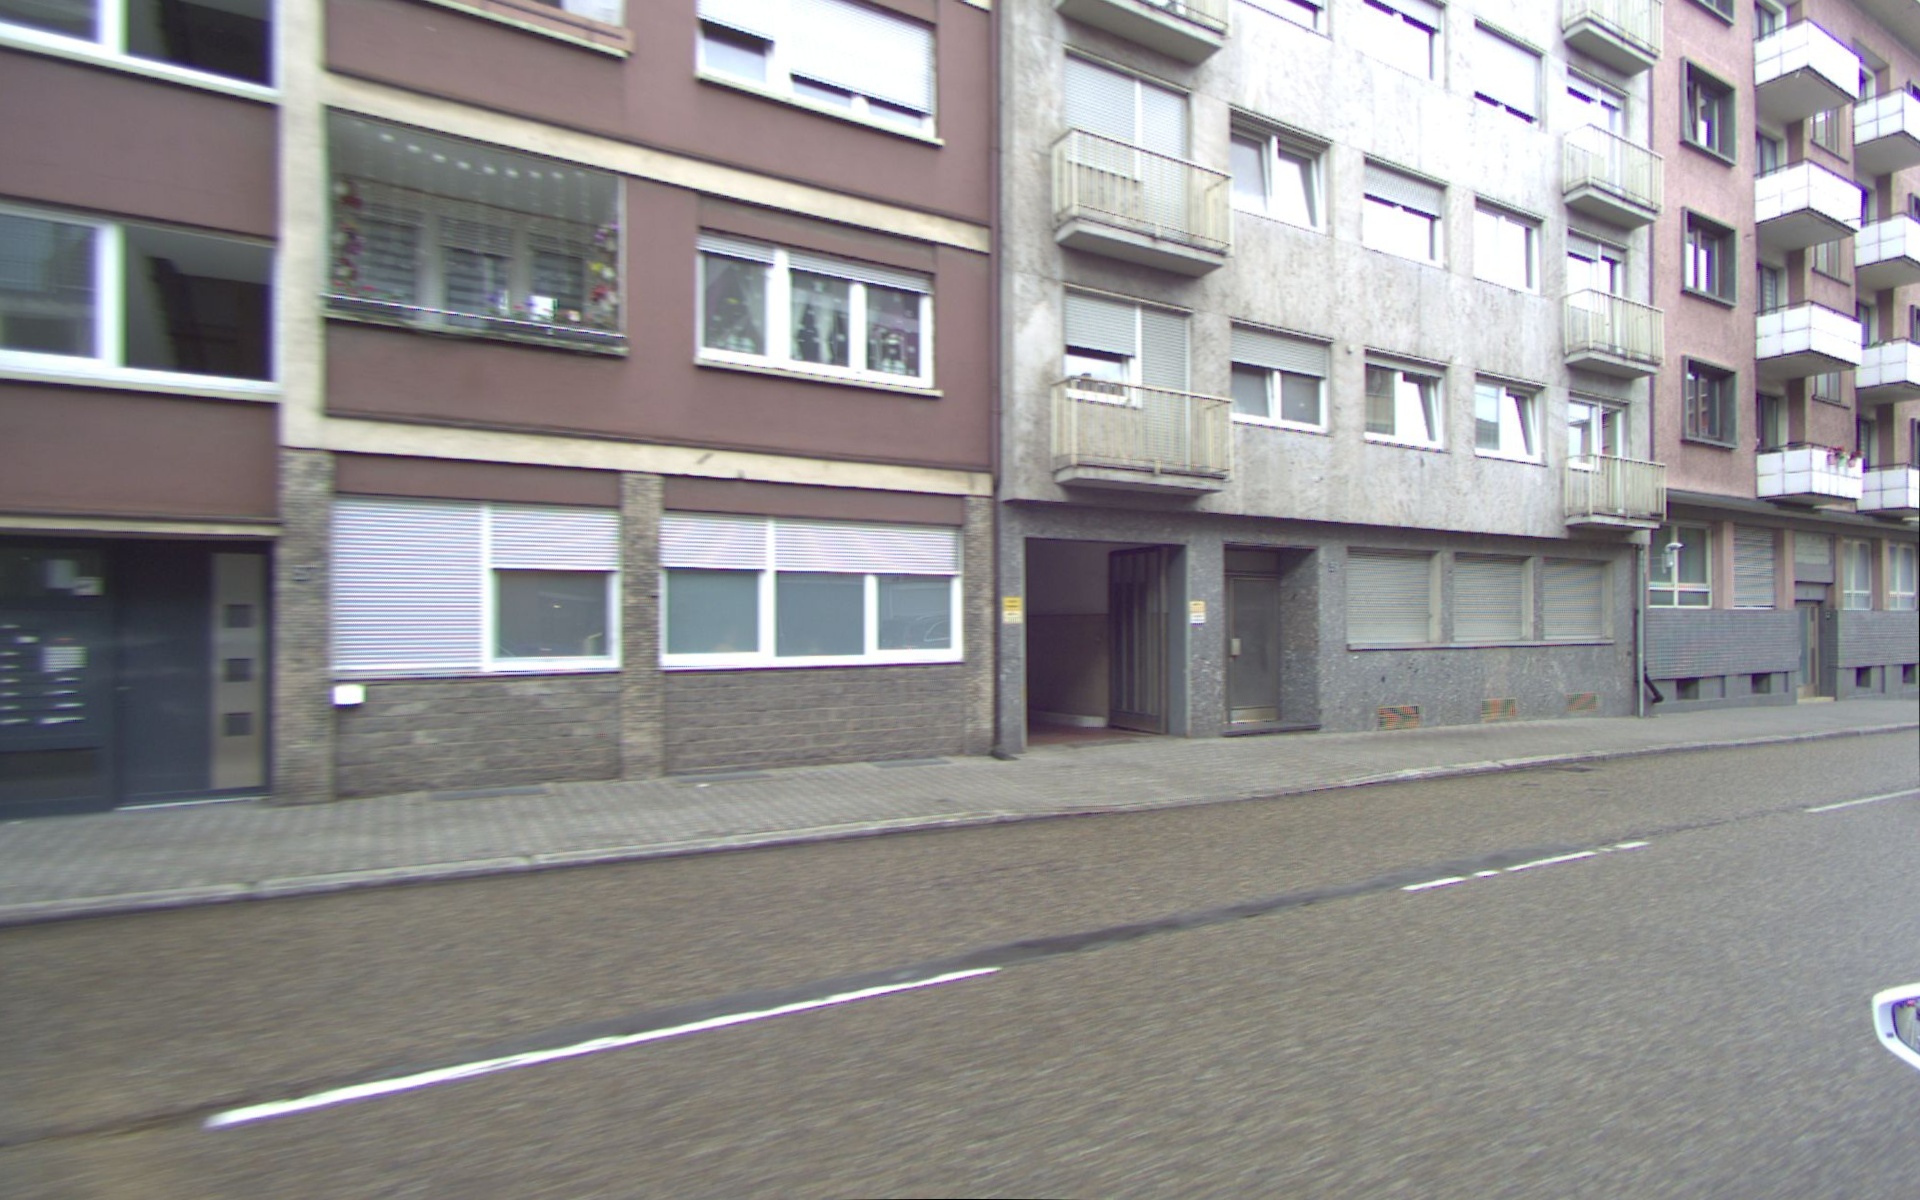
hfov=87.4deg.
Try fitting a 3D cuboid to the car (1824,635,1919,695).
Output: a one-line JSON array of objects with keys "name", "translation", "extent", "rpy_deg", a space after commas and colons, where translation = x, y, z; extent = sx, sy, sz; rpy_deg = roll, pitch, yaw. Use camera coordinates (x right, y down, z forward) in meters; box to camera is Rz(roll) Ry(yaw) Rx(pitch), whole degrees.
[{"name": "car", "translation": [28.552, 1.943, 30.737], "extent": [4.210, 1.695, 1.984], "rpy_deg": [2, -2, -31]}]

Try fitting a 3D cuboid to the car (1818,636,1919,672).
[{"name": "car", "translation": [42.164, 2.472, 45.769], "extent": [1.755, 1.559, 4.330], "rpy_deg": [2, -3, -27]}]
